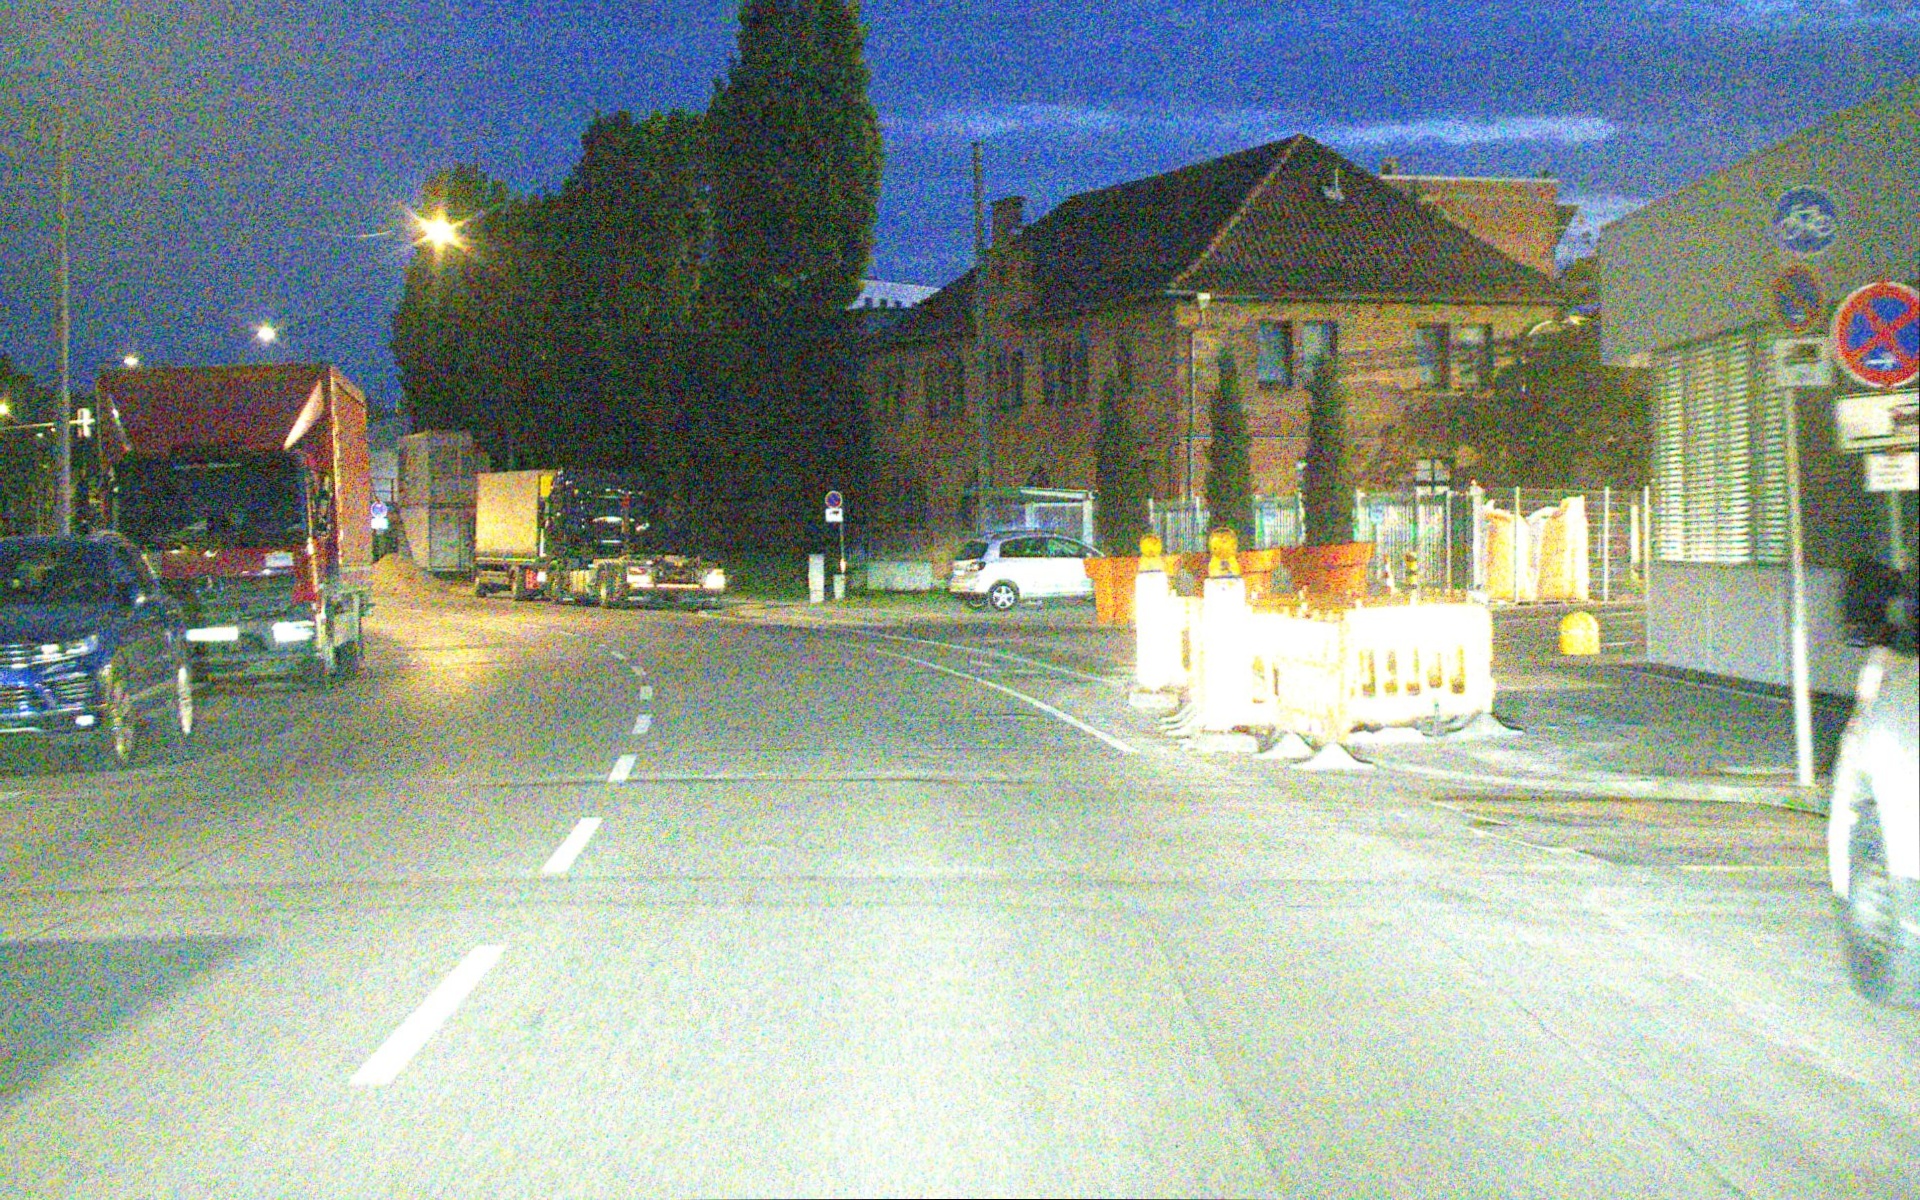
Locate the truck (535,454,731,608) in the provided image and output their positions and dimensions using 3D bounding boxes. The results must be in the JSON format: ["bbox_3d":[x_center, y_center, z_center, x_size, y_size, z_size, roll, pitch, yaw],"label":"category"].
[{"bbox_3d":[-8.587,-1.762,89.236,2.754,3.770,9.140,-1,1,-20],"label":"truck"}]

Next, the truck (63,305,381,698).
[{"bbox_3d":[-8.536,-1.125,40.795,2.772,4.106,9.343,-1,1,-7],"label":"truck"}]

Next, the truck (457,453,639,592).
[{"bbox_3d":[-11.966,-2.203,98.932,2.754,3.770,10.228,-1,1,-21],"label":"truck"}]

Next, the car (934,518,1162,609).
[{"bbox_3d":[1.846,-0.786,72.226,4.325,1.640,1.893,-4,2,-21],"label":"car"}]

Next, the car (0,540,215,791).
[{"bbox_3d":[-7.061,0.412,26.195,1.943,1.711,5.199,-1,1,-4],"label":"car"}]

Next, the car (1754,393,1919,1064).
[{"bbox_3d":[3.862,0.380,9.809,1.993,2.007,4.912,-1,1,0],"label":"car"}]
